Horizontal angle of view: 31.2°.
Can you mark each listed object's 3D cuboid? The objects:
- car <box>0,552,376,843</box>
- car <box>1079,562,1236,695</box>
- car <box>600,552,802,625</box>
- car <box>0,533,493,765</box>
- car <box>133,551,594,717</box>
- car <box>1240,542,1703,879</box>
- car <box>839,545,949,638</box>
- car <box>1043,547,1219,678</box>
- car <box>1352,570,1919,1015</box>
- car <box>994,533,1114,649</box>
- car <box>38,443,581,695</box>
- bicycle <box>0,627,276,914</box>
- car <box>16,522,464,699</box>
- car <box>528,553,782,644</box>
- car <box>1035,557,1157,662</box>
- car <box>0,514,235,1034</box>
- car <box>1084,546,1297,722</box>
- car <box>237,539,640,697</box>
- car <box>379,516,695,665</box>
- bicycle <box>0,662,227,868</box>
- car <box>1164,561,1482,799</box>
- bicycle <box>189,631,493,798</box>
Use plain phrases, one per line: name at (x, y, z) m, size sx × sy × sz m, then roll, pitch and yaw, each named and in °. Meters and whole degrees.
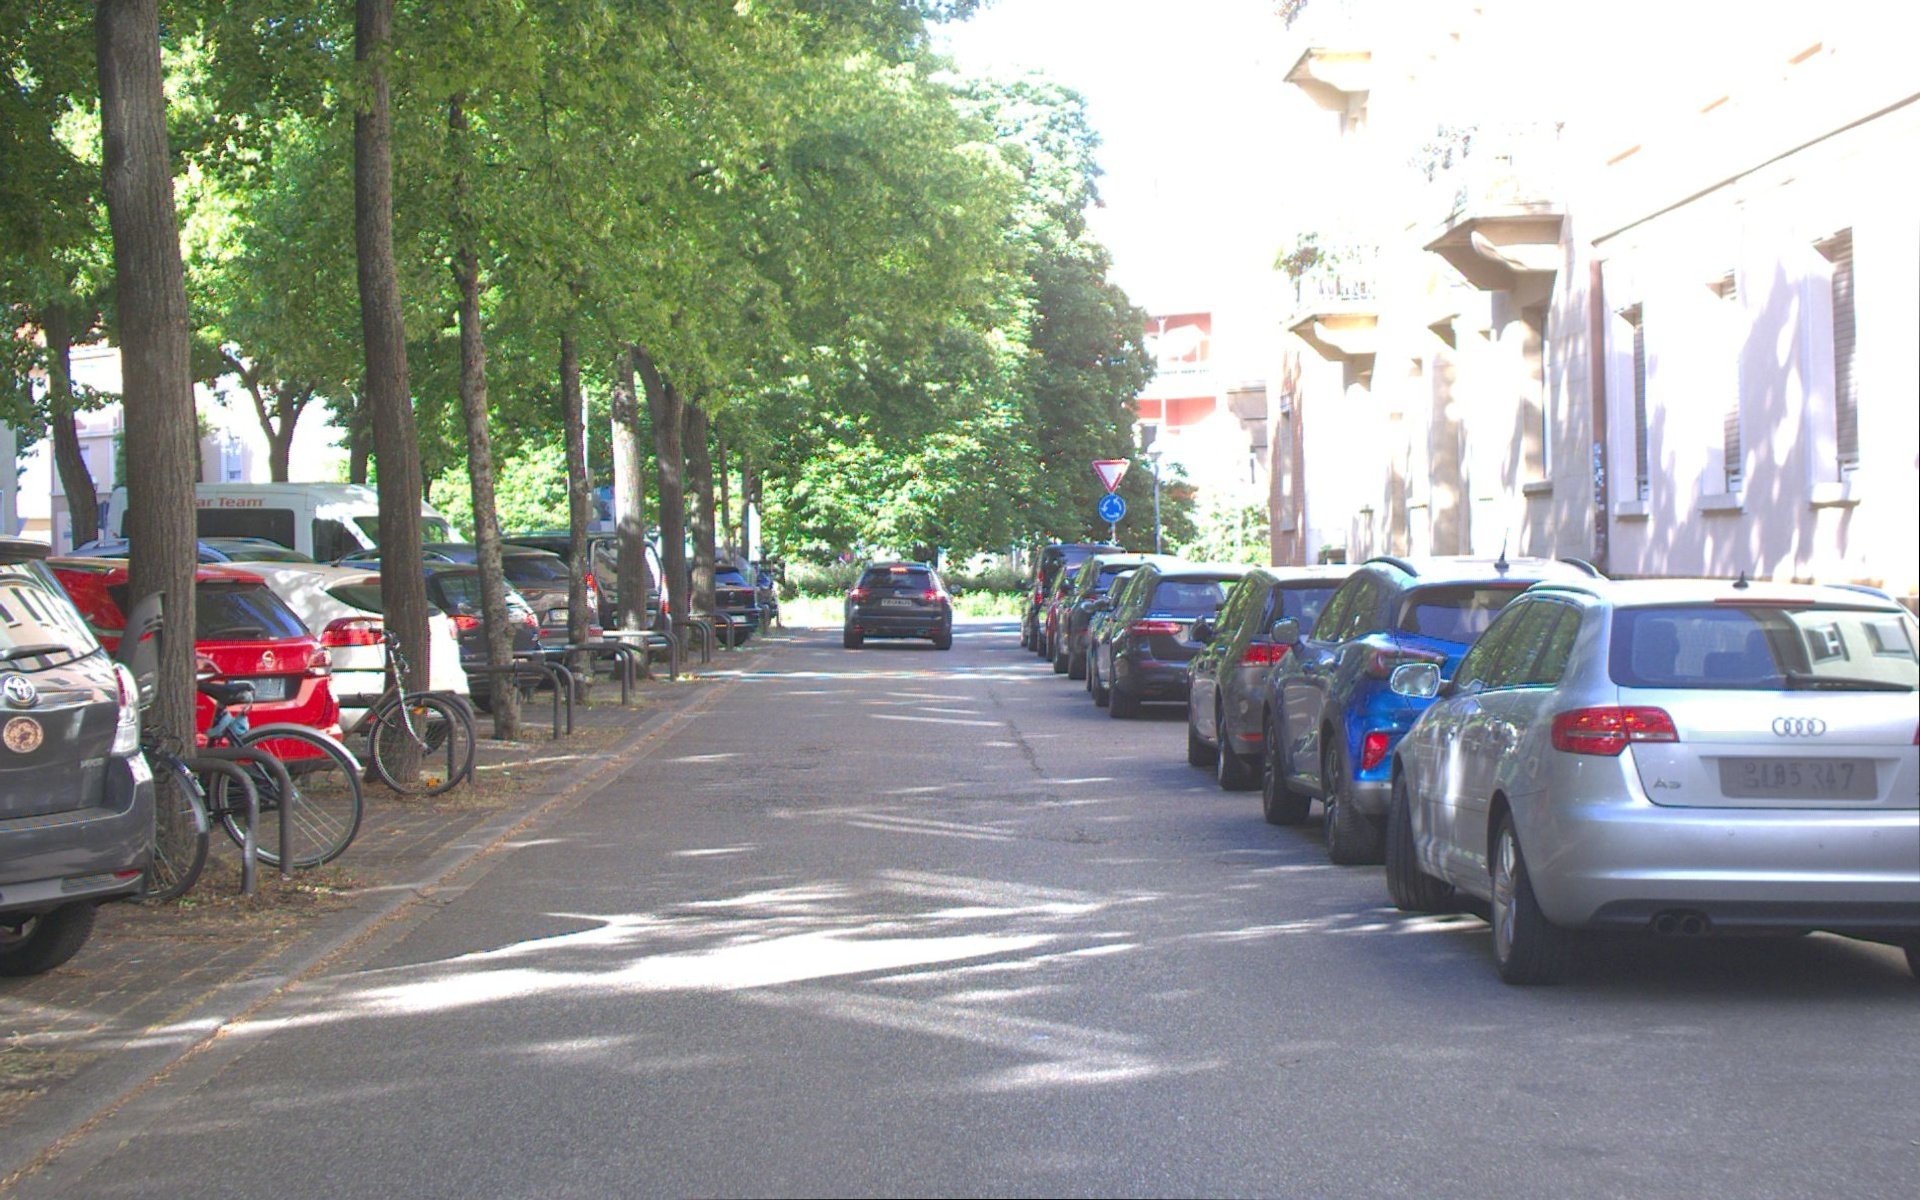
car at (-5.714, 0.469, 19.514) m, size 4.621 × 1.481 × 1.758 m, roll 1°, pitch 1°, yaw 28°
car at (2.209, 0.290, 39.268) m, size 1.590 × 1.410 × 3.632 m, roll 1°, pitch 1°, yaw 0°
car at (-5.425, -0.228, 71.747) m, size 4.138 × 1.476 × 1.772 m, roll 0°, pitch 0°, yaw 40°
car at (-5.504, 0.312, 25.413) m, size 3.687 × 1.590 × 1.770 m, roll 1°, pitch 1°, yaw 25°
car at (-5.650, 0.301, 32.479) m, size 4.102 × 1.476 × 1.729 m, roll 0°, pitch 0°, yaw 29°
car at (2.573, 0.489, 18.239) m, size 1.767 × 1.546 × 4.184 m, roll -1°, pitch 1°, yaw 0°
car at (-1.099, -0.174, 59.024) m, size 1.714 × 1.478 × 4.144 m, roll -2°, pitch 1°, yaw 1°
car at (2.229, 0.122, 45.908) m, size 1.864 × 1.638 × 4.492 m, roll 1°, pitch 1°, yaw -3°
car at (2.675, 0.610, 13.377) m, size 1.769 × 1.426 × 4.291 m, roll 0°, pitch 1°, yaw 0°
car at (1.591, -0.181, 59.329) m, size 1.801 × 1.864 × 4.273 m, roll 2°, pitch 1°, yaw -1°
car at (-8.106, -0.350, 42.984) m, size 6.069 × 2.614 × 2.453 m, roll -4°, pitch -1°, yaw 15°
bicycle at (-3.746, 0.701, 14.602) m, size 1.687 × 1.155 × 0.379 m, roll 1°, pitch 1°, yaw 19°
car at (-7.588, 0.113, 36.192) m, size 4.386 × 1.771 × 1.896 m, roll -1°, pitch 0°, yaw 27°
car at (-5.142, -0.023, 57.733) m, size 4.087 × 1.461 × 1.867 m, roll 1°, pitch 0°, yaw -10°
car at (2.110, 0.113, 54.394) m, size 1.645 × 1.532 × 4.000 m, roll 2°, pitch 1°, yaw -1°
car at (-4.754, 0.520, 11.995) m, size 4.082 × 1.647 × 1.860 m, roll 1°, pitch 1°, yaw 27°
car at (2.198, 0.277, 33.718) m, size 1.805 × 1.558 × 4.320 m, roll -2°, pitch 1°, yaw 1°
car at (-5.808, 0.168, 38.199) m, size 4.268 × 1.636 × 1.653 m, roll 1°, pitch 1°, yaw 28°
car at (-5.602, -0.128, 45.438) m, size 3.845 × 1.882 × 1.840 m, roll 0°, pitch 1°, yaw 33°
bicycle at (-4.420, 0.764, 16.358) m, size 1.900 × 0.916 × 0.379 m, roll 1°, pitch 1°, yaw 19°
car at (2.387, 0.477, 23.491) m, size 1.692 × 1.463 × 4.005 m, roll 0°, pitch 1°, yaw -1°
bicycle at (-3.797, 0.700, 21.088) m, size 1.812 × 0.990 × 0.425 m, roll -1°, pitch 1°, yaw 15°
